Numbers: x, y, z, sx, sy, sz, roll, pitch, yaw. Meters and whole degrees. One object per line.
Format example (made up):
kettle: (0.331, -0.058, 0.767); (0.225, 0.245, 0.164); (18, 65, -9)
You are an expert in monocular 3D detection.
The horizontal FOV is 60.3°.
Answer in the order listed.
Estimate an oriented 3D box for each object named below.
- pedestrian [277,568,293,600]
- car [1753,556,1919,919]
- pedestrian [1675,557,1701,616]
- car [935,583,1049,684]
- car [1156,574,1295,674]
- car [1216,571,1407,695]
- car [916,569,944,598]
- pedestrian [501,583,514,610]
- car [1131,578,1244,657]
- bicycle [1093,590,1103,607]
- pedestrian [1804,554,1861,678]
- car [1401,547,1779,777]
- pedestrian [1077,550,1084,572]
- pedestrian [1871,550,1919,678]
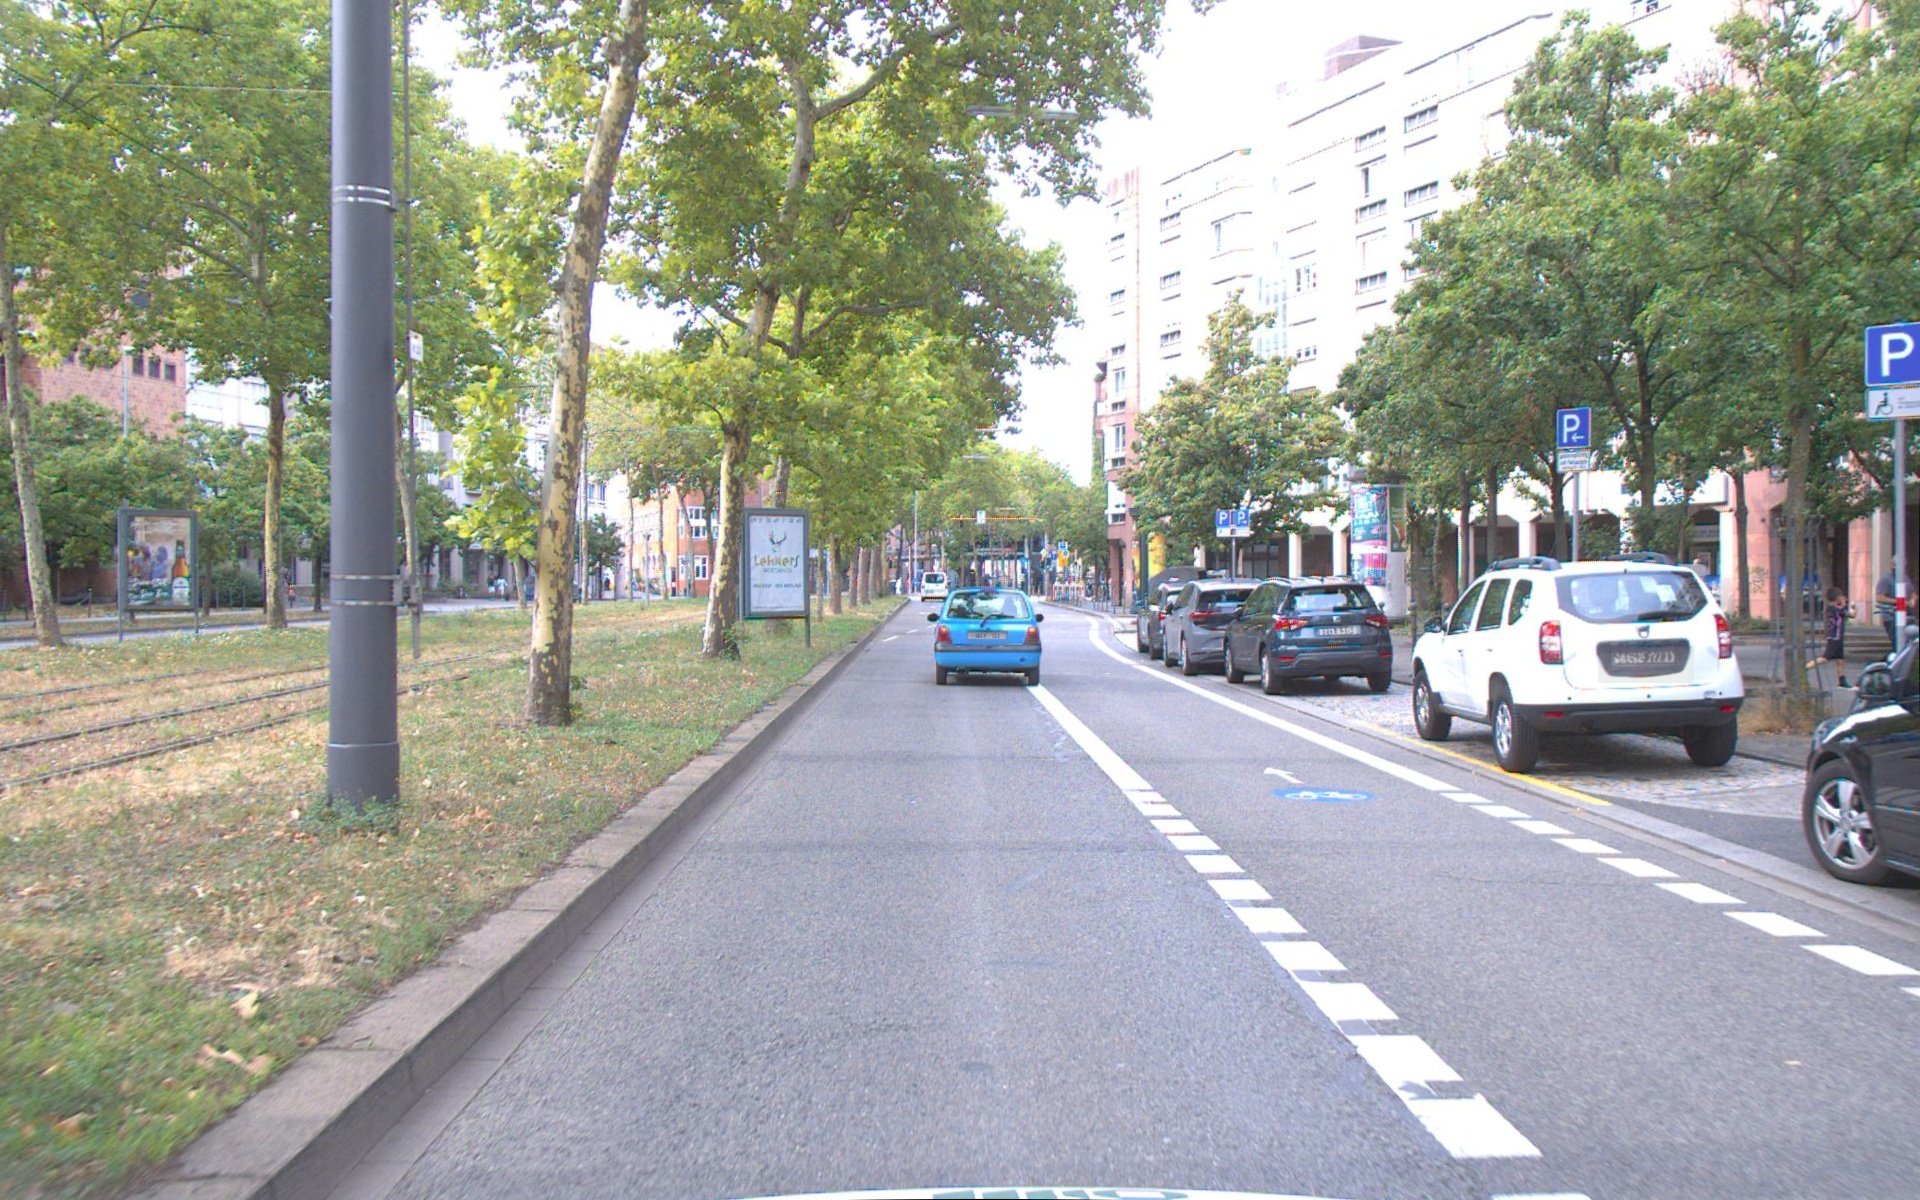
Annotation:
pedestrian: (-35.972, -0.847, 88.125); (0.541, 1.735, 0.626); (0, 0, 4)
car: (5.088, 0.592, 6.967); (1.737, 1.604, 4.308); (-2, 1, 6)
pedestrian: (20.991, -0.385, 47.709); (0.521, 1.691, 0.852); (0, 0, 11)
car: (0.450, 0.462, 25.351); (1.607, 1.410, 3.843); (0, 1, 0)
car: (4.503, 0.352, 28.661); (1.704, 1.545, 4.401); (-1, 1, 0)
car: (4.881, 0.391, 23.526); (1.680, 1.545, 4.203); (-2, 1, -2)
car: (-2.044, -1.152, 113.251); (1.892, 1.959, 4.955); (0, 1, -1)
pedestrian: (-29.698, -0.243, 108.497); (0.541, 1.735, 0.885); (0, 0, 4)
car: (4.587, 0.312, 33.867); (1.779, 1.468, 4.667); (-1, 1, 2)
bicycle: (9.013, -0.104, 107.771); (0.599, 1.137, 1.806); (0, 0, 7)
pedestrian: (10.793, 0.193, 20.469); (0.407, 1.505, 0.498); (-1, 1, -32)
car: (5.255, 0.434, 14.429); (1.822, 1.682, 4.165); (-1, 1, 2)
pedestrian: (9.137, -2.915, 125.085); (0.506, 1.644, 0.851); (0, 0, 4)
pedestrian: (11.817, 0.171, 20.897); (0.506, 1.597, 0.478); (0, 0, 35)
